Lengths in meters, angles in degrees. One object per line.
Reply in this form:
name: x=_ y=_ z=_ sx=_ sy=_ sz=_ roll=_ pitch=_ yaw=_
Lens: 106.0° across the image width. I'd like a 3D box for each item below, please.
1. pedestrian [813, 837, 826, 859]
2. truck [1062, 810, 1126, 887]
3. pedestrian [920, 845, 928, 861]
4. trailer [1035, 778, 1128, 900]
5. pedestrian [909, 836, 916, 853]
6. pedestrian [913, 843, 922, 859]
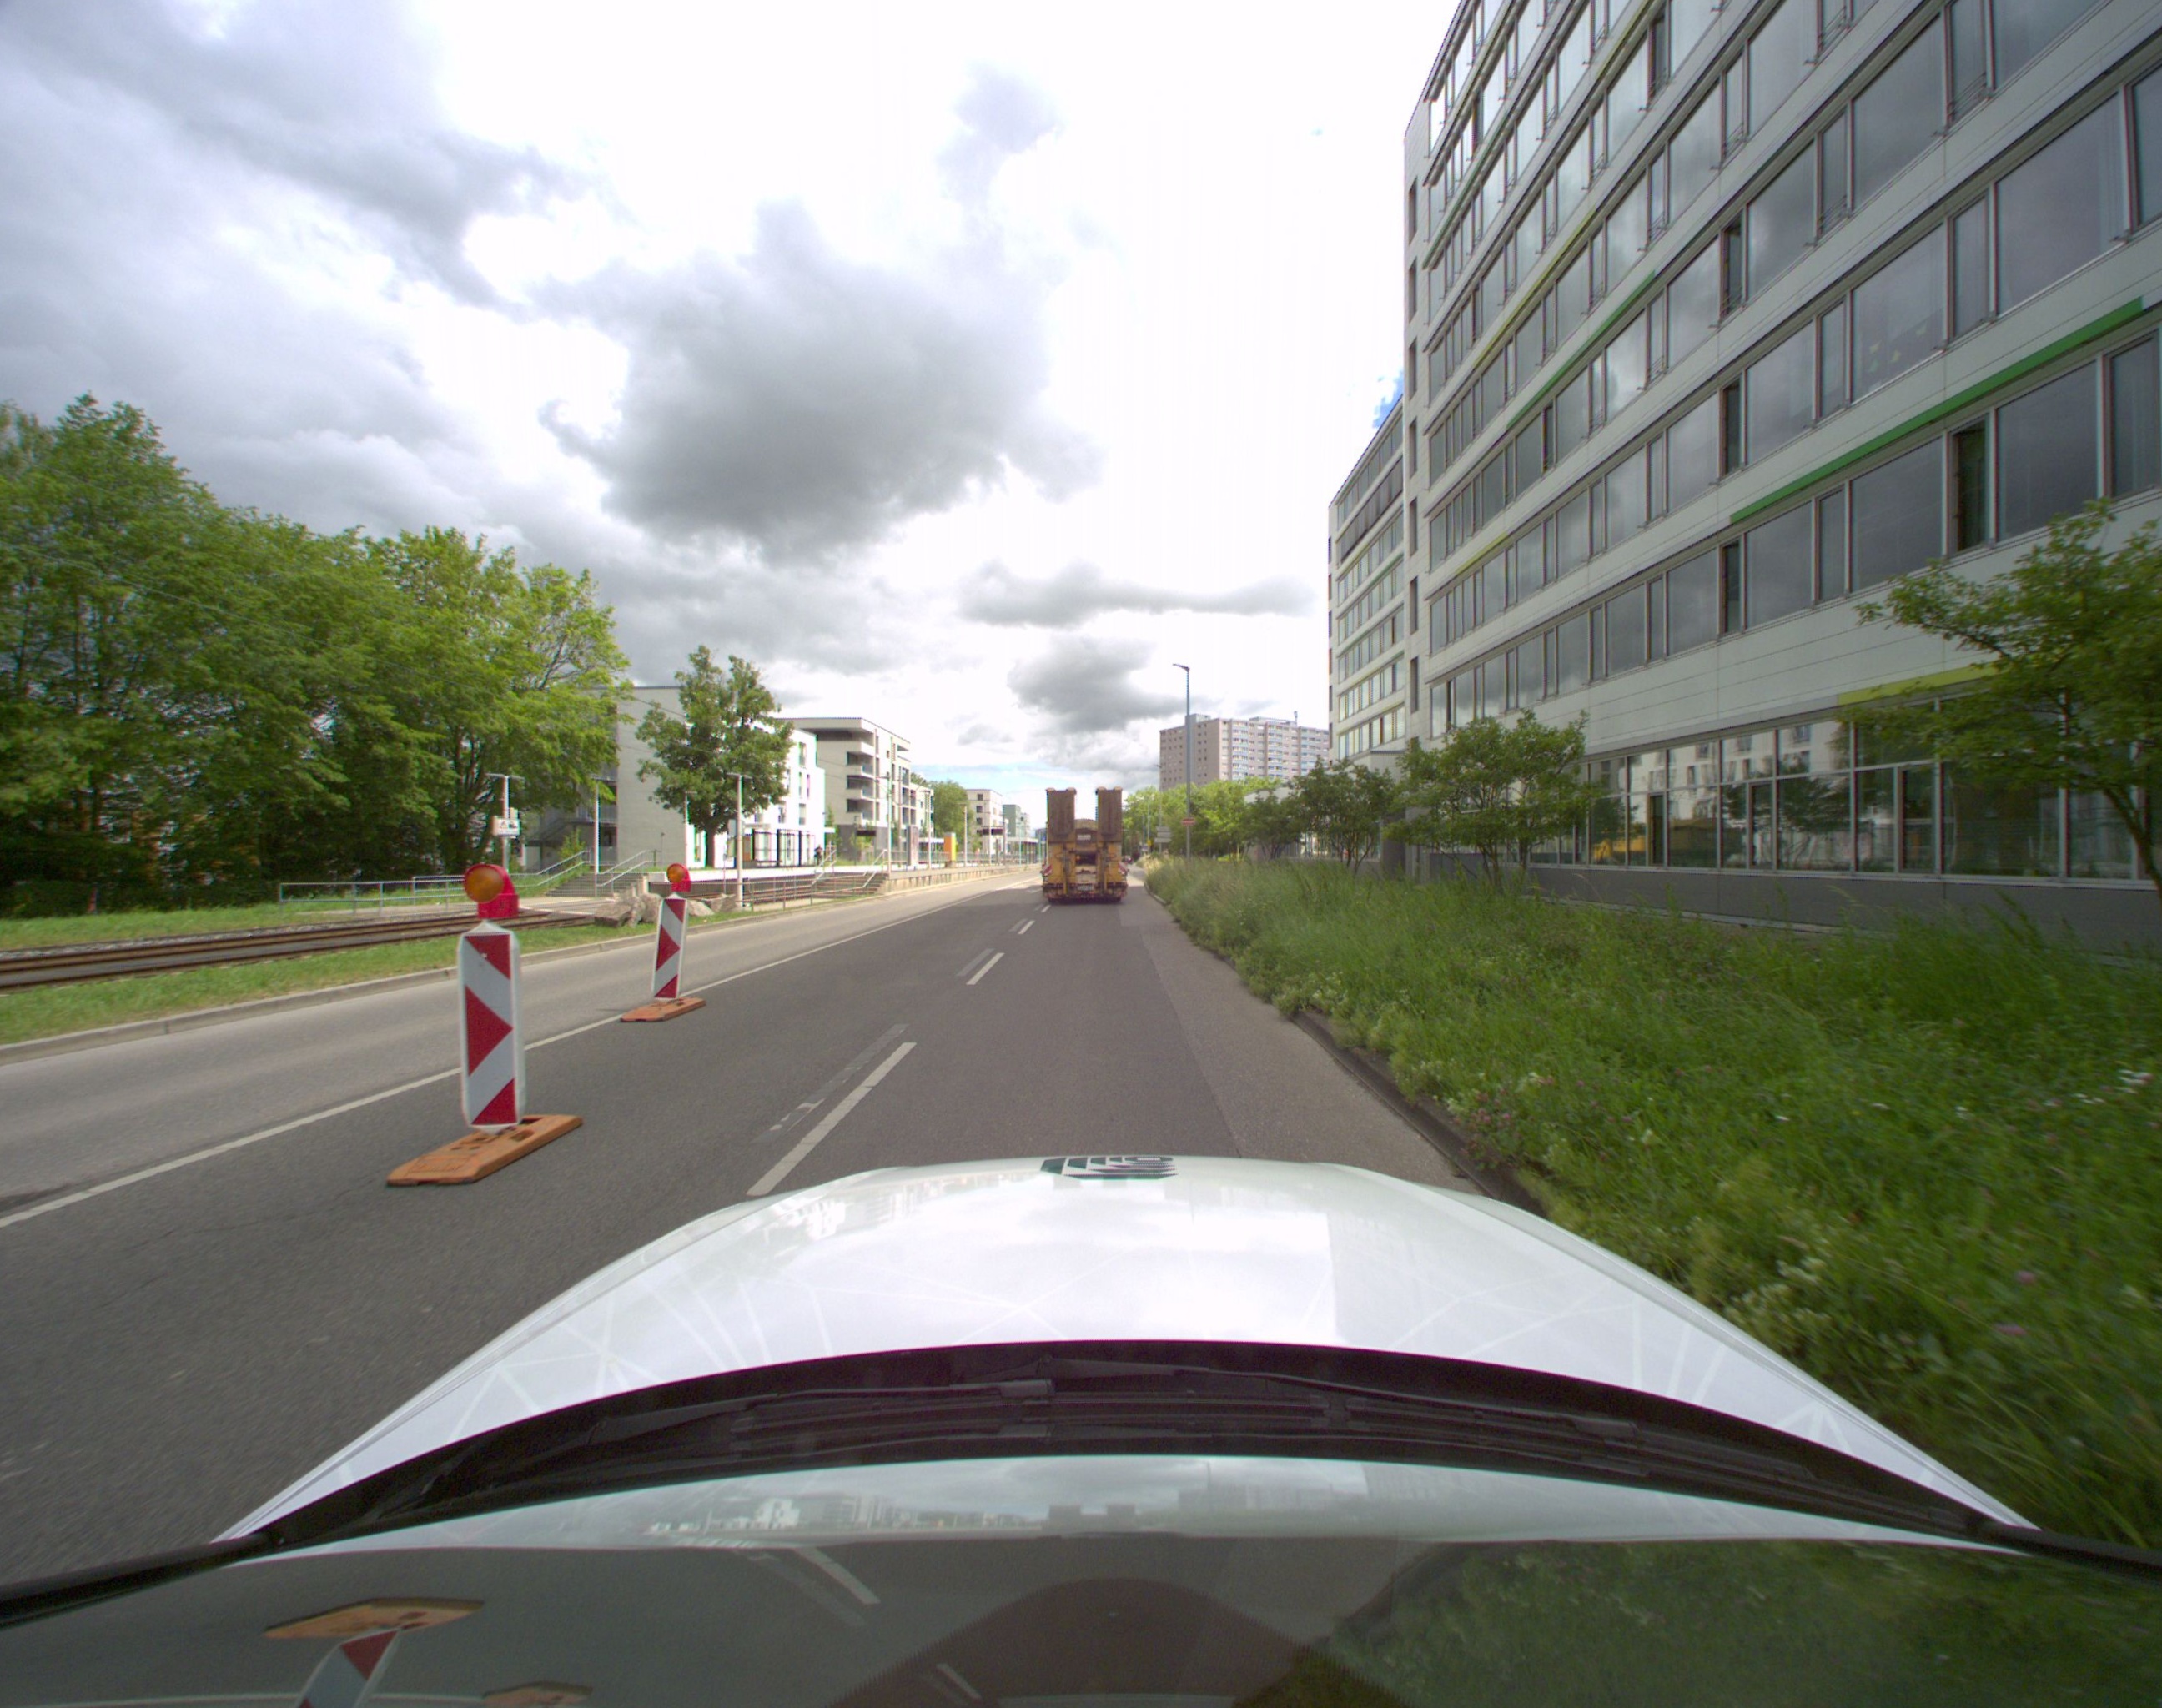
pedestrian: x=-18.290 y=-0.424 z=57.014 sx=0.738 sy=1.531 sz=0.548 roll=0 pitch=-1 yaw=5
truck: x=0.741 y=-0.216 z=39.226 sx=2.742 sy=3.313 sz=8.356 roll=0 pitch=0 yaw=2
pedestrian: x=-16.314 y=-0.109 z=84.644 sx=0.482 sy=1.596 sz=0.682 roll=-1 pitch=-1 yaw=37
trailer: x=0.271 y=-0.427 z=29.422 sx=2.718 sy=3.559 sz=11.261 roll=0 pitch=0 yaw=3
pedestrian: x=-17.279 y=-1.013 z=83.697 sx=0.490 sy=1.725 sz=0.671 roll=0 pitch=-1 yaw=-32
pedestrian: x=-16.746 y=-0.278 z=83.440 sx=0.681 sy=1.596 sz=0.483 roll=0 pitch=-1 yaw=-45
